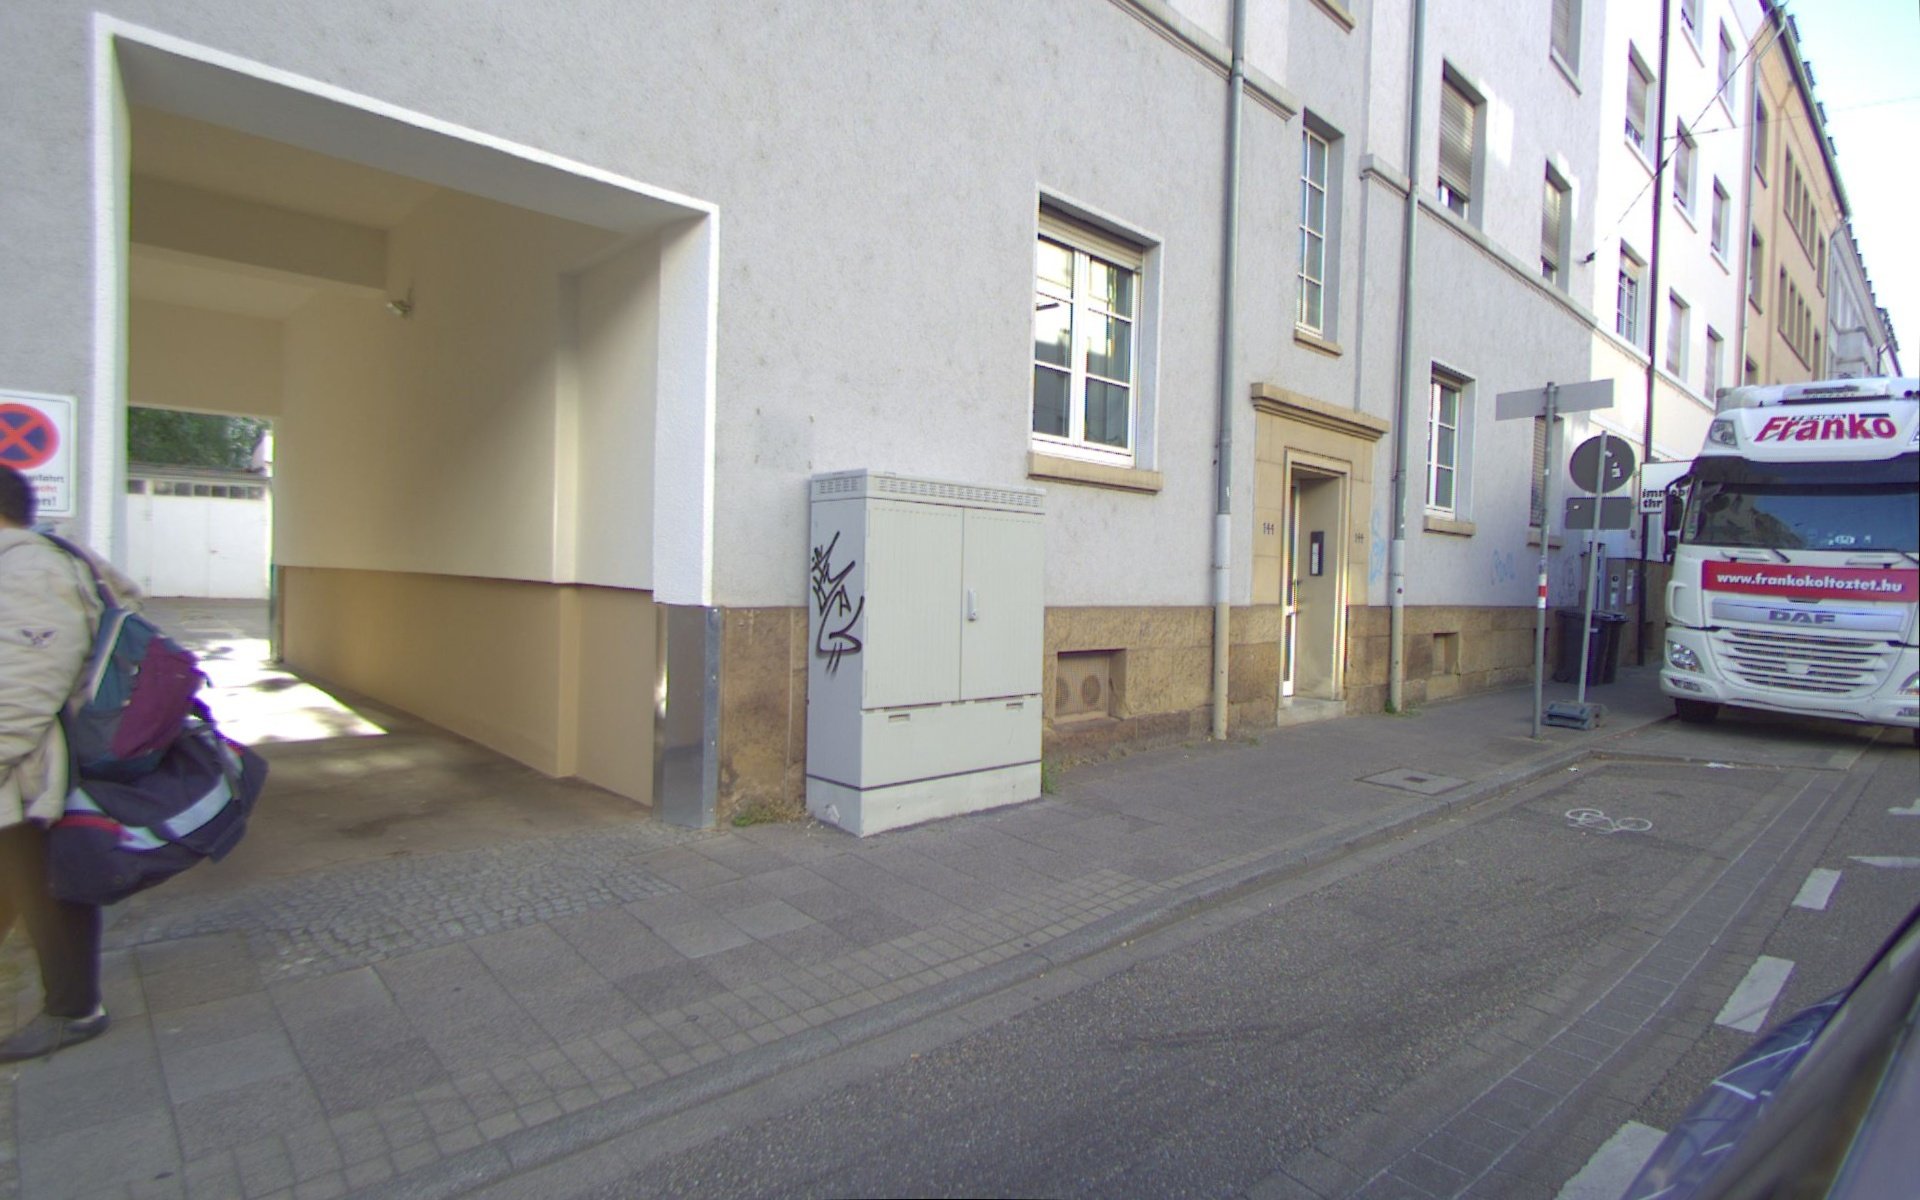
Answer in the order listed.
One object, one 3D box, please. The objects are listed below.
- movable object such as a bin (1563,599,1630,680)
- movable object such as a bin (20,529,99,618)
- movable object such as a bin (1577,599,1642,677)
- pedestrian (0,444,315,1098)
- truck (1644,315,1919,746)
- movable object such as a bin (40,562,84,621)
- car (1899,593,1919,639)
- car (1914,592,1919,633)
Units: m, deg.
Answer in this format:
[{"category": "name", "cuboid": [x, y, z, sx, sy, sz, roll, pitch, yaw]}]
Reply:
[{"category": "movable object such as a bin", "cuboid": [9.175, 0.555, 14.587, 0.560, 1.107, 0.665, 0, 2, -43]}, {"category": "movable object such as a bin", "cuboid": [-15.149, -0.452, 17.017, 0.946, 1.426, 1.597, 0, 2, -43]}, {"category": "movable object such as a bin", "cuboid": [9.654, 0.546, 15.038, 0.560, 1.107, 0.665, 0, 2, -43]}, {"category": "pedestrian", "cuboid": [-2.462, 0.394, 2.902, 0.854, 1.590, 0.875, 1, 3, -43]}, {"category": "truck", "cuboid": [12.580, -0.675, 13.880, 11.621, 3.975, 2.778, 0, 2, -44]}, {"category": "movable object such as a bin", "cuboid": [-14.373, -0.145, 16.199, 0.518, 0.922, 0.580, 0, 2, -43]}, {"category": "car", "cuboid": [33.509, 0.535, 34.732, 4.080, 1.551, 1.681, 0, 0, -44]}, {"category": "car", "cuboid": [37.679, 0.468, 38.629, 4.080, 1.551, 1.681, 0, 0, -44]}]
